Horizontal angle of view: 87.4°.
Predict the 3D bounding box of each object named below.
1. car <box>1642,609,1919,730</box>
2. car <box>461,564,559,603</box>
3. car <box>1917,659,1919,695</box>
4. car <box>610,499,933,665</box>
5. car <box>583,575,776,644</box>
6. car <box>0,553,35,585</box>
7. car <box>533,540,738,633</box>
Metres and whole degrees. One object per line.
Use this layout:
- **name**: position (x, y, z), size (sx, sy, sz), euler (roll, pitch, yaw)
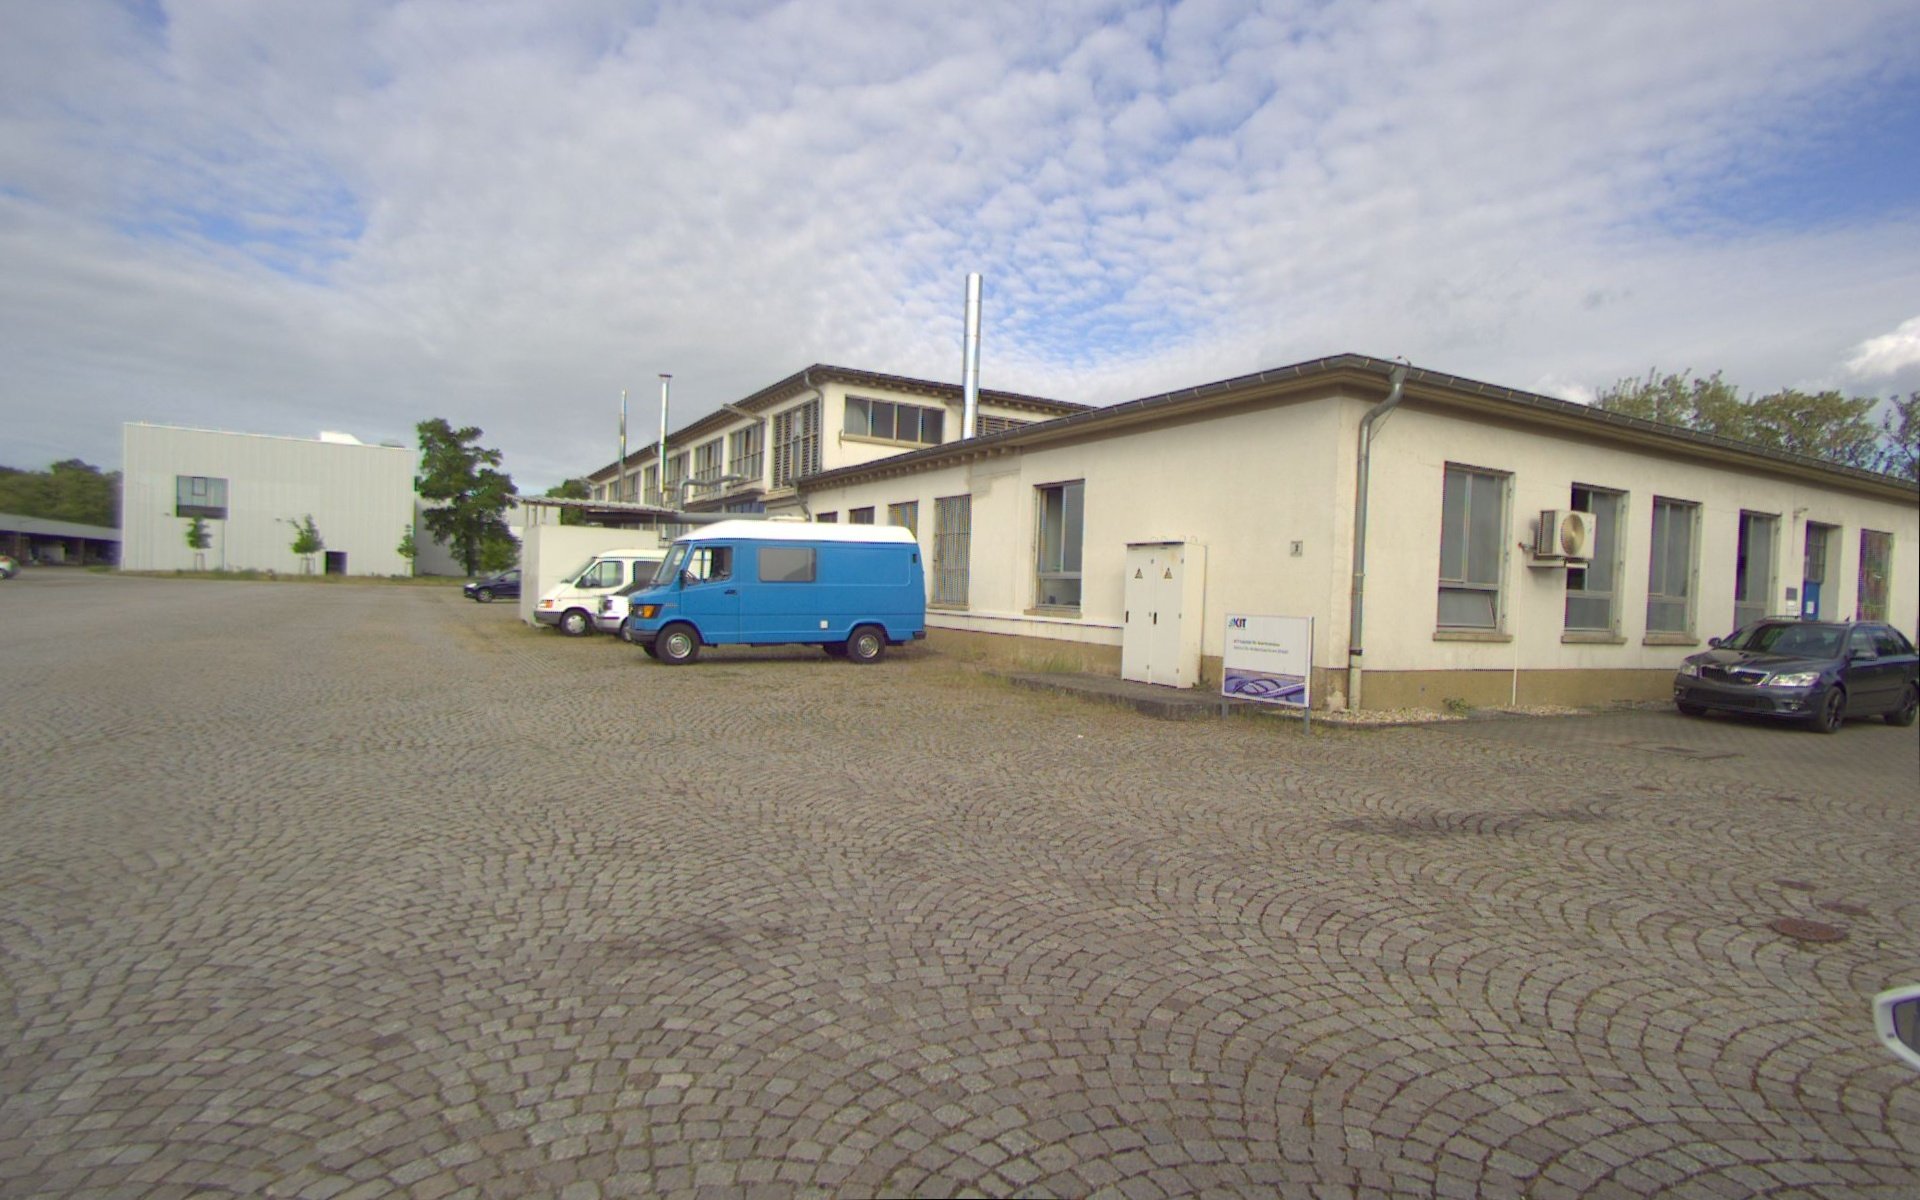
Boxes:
- **car**: position (12.225, 0.936, 14.664), size (4.756, 1.458, 1.915), euler (1, 1, -31)
- **car**: position (-21.839, -0.768, 48.754), size (4.108, 1.667, 1.983), euler (2, -1, -32)
- **car**: position (20.618, 1.178, 19.431), size (4.318, 1.458, 1.914), euler (1, 2, -31)
- **car**: position (-3.322, -0.279, 17.937), size (5.327, 2.617, 1.986), euler (1, 1, -27)
- **car**: position (-6.302, 0.215, 22.630), size (3.950, 1.427, 1.625), euler (2, 1, -28)
- **car**: position (-62.197, -2.045, 64.125), size (4.262, 1.973, 1.982), euler (2, 1, -33)
- **car**: position (-8.101, -0.313, 25.124), size (4.624, 2.138, 1.986), euler (1, 1, -27)
